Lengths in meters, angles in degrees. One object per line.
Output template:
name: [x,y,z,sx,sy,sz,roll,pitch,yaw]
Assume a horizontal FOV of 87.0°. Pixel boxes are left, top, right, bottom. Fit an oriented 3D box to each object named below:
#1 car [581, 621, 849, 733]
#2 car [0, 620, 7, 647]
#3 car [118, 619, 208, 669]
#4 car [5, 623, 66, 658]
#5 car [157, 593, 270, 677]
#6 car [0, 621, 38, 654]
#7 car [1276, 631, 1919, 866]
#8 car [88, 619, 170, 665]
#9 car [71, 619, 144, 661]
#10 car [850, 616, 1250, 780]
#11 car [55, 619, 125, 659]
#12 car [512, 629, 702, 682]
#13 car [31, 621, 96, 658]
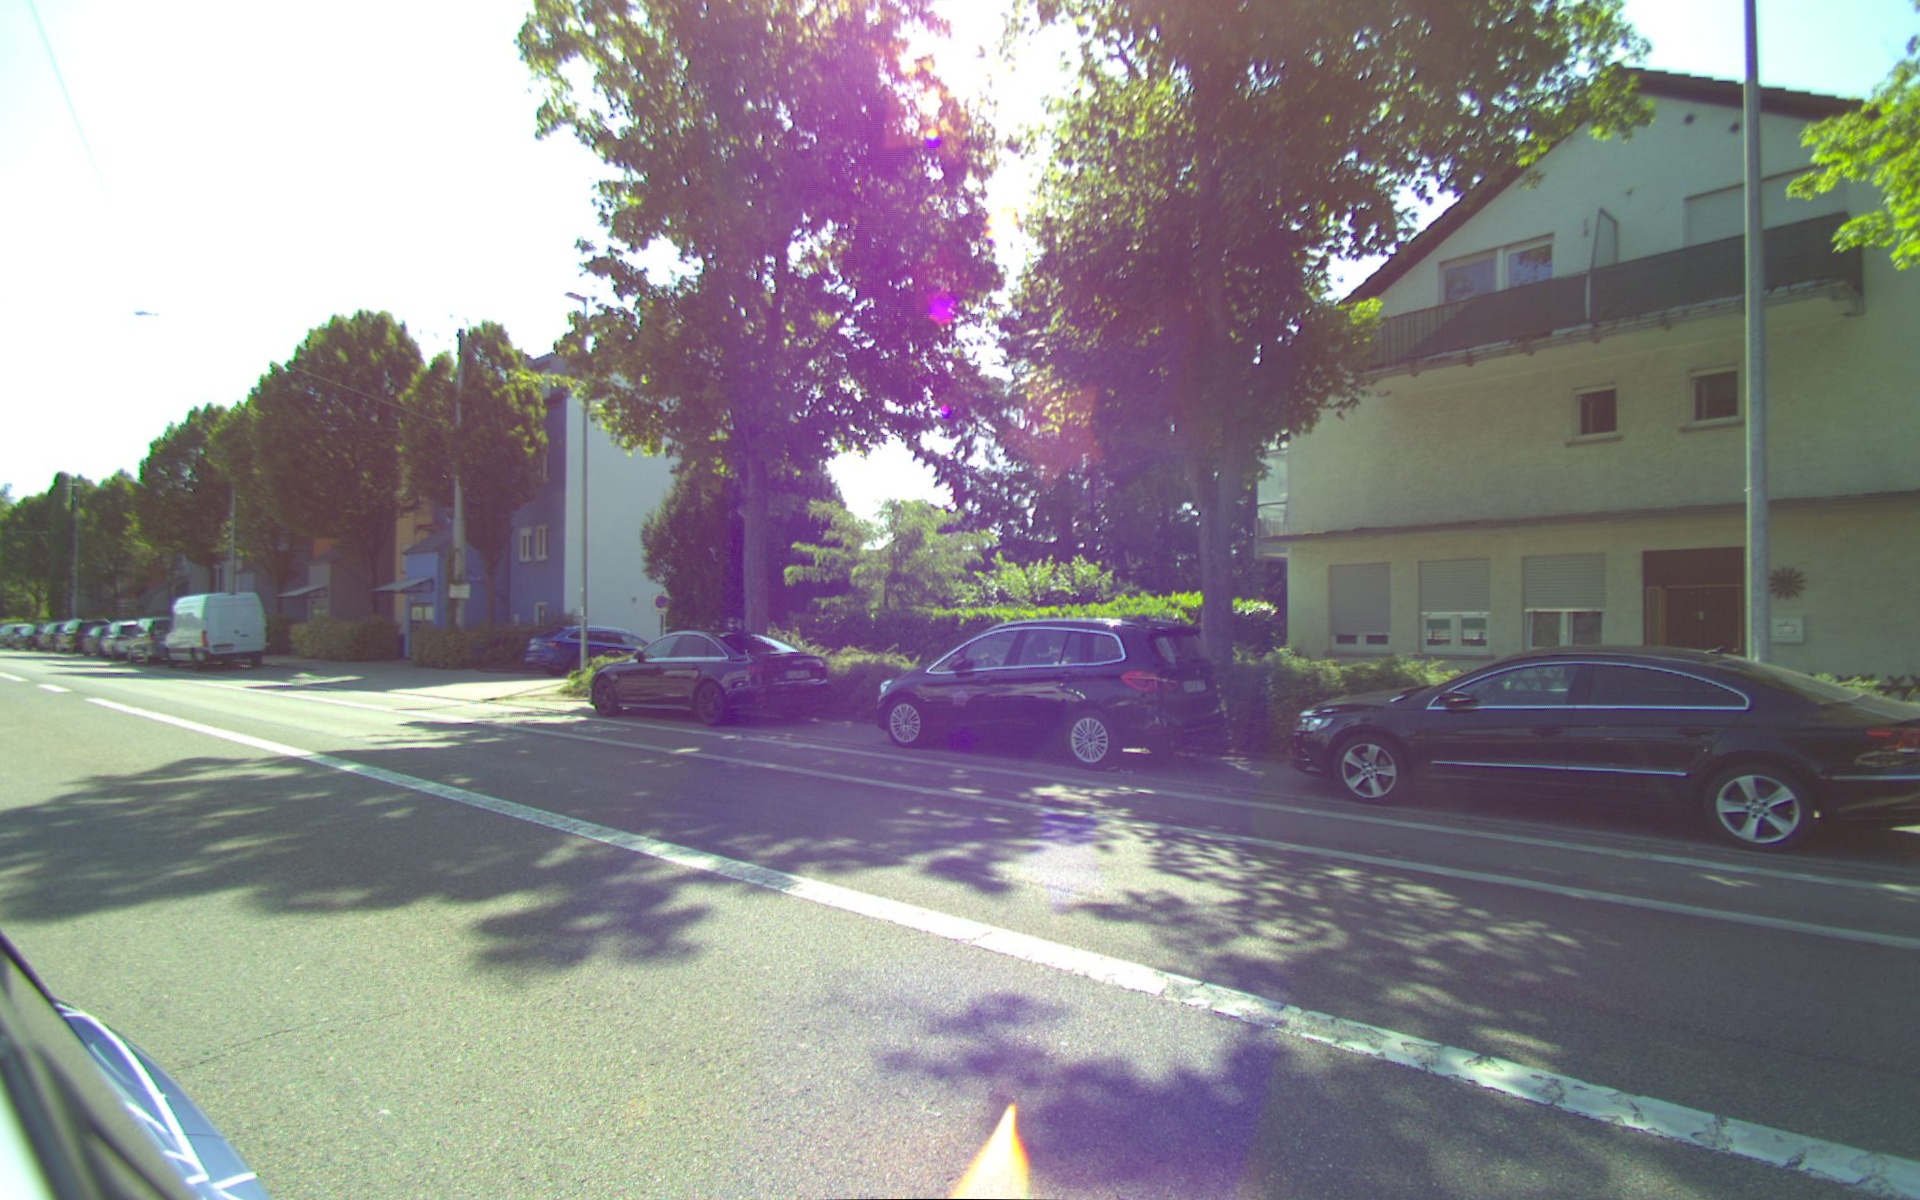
car: [-4.086,1.153,16.516,4.616,1.583,1.845,-1,-2,39]
car: [-68.780,2.464,71.160,4.766,1.818,1.974,-2,4,41]
car: [-33.493,1.816,42.479,4.766,1.818,1.974,-2,4,41]
car: [-54.913,2.389,60.102,4.766,1.818,1.974,-2,4,41]
car: [-27.326,1.240,36.946,6.213,2.713,1.973,-2,4,43]
car: [-60.273,2.368,64.203,4.766,1.818,1.974,-2,4,41]
car: [5.238,1.006,8.428,4.619,1.426,1.844,-1,0,41]
car: [-38.062,1.883,46.323,4.766,1.818,1.974,-2,4,41]
car: [-42.133,1.943,49.996,4.254,1.818,1.974,-2,4,41]
car: [0.928,1.024,12.249,4.619,1.583,1.844,-1,0,41]
car: [-45.740,2.020,53.178,4.766,1.818,1.974,-2,4,41]
car: [-10.353,1.599,30.003,1.891,1.441,5.002,-2,-3,44]
car: [-50.236,2.203,56.681,4.766,1.818,1.974,-2,4,41]
